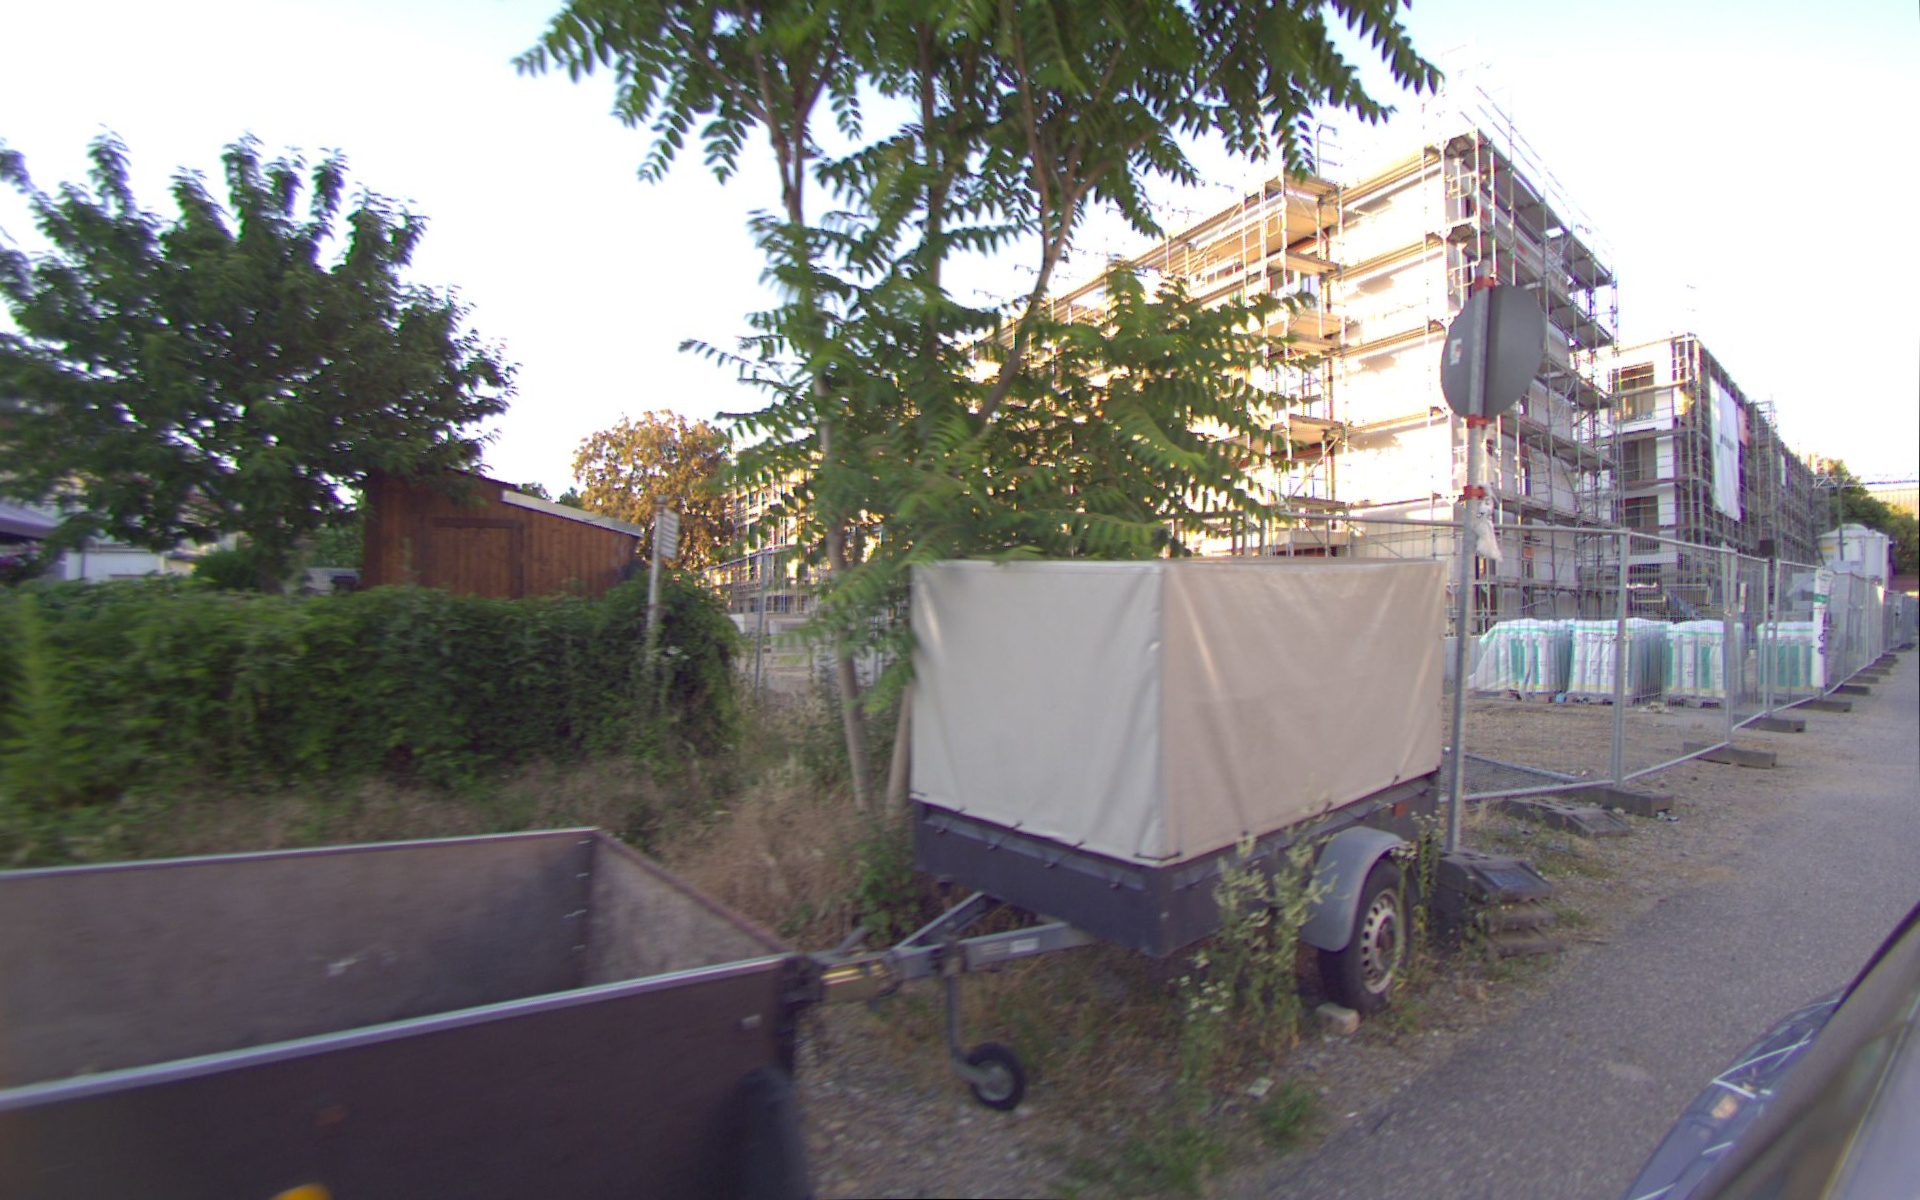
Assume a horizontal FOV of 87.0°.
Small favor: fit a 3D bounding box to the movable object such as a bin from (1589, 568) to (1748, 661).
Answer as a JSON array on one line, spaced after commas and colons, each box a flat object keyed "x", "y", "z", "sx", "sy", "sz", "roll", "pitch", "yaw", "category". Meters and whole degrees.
[{"x": 20.185, "y": 0.359, "z": 28.596, "sx": 8.227, "sy": 2.302, "sz": 2.067, "roll": 0, "pitch": 0, "yaw": -43, "category": "movable object such as a bin"}]

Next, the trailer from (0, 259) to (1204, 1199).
[{"x": -1.930, "y": 0.551, "z": 1.348, "sx": 4.846, "sy": 1.800, "sz": 1.735, "roll": 0, "pitch": 1, "yaw": -38, "category": "trailer"}]

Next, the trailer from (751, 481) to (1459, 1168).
[{"x": 0.724, "y": 0.536, "z": 3.888, "sx": 2.756, "sy": 1.686, "sz": 1.252, "roll": 0, "pitch": 1, "yaw": -43, "category": "trailer"}]
